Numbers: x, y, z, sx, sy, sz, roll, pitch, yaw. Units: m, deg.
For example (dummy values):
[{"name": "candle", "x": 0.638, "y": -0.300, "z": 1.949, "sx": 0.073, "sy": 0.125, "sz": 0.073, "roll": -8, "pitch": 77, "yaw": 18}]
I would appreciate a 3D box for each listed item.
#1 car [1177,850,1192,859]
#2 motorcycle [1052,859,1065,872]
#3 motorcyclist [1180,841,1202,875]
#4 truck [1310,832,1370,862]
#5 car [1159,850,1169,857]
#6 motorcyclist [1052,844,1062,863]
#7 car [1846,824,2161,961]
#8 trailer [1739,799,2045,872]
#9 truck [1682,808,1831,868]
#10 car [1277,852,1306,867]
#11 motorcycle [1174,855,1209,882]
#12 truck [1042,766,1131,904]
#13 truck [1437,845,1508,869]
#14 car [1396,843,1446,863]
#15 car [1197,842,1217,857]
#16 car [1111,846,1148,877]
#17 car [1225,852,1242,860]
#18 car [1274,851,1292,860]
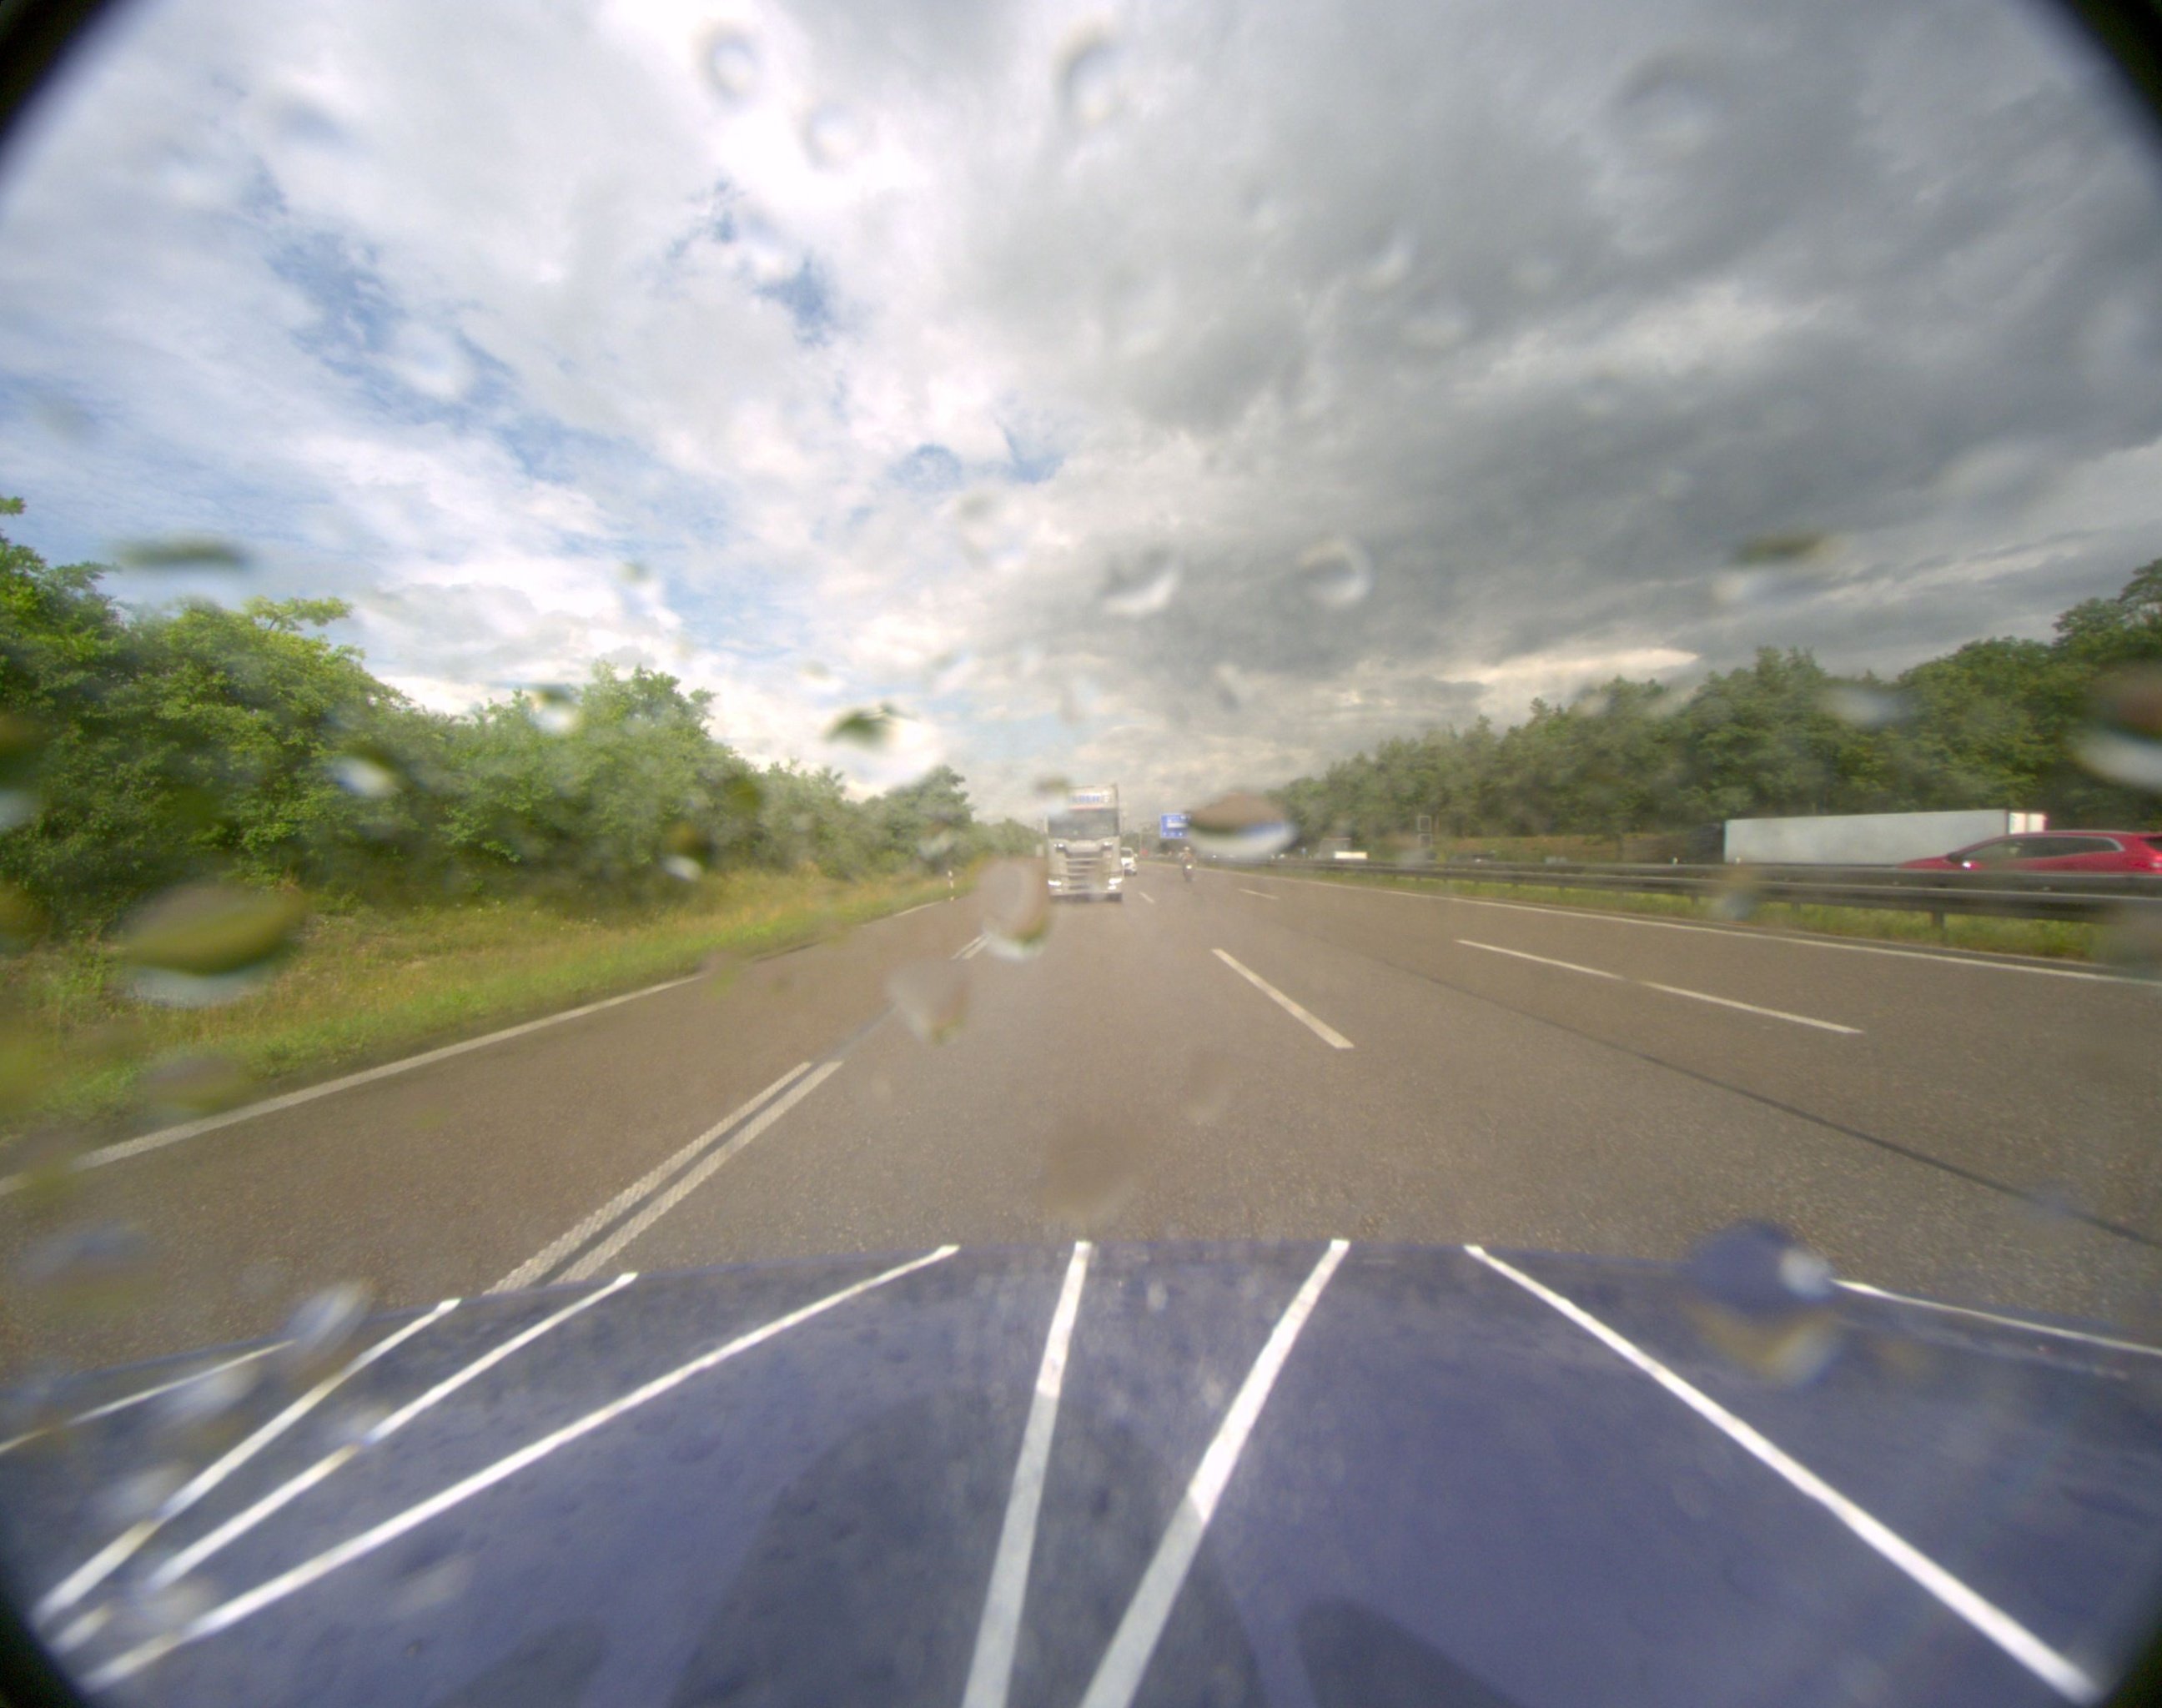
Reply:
[{"name": "car", "x": 18.635, "y": 0.089, "z": 136.710, "sx": 1.903, "sy": 1.384, "sz": 5.420, "roll": -2, "pitch": 1, "yaw": 1}, {"name": "motorcycle", "x": -2.159, "y": 1.064, "z": 73.030, "sx": 1.188, "sy": 1.142, "sz": 3.193, "roll": -2, "pitch": 1, "yaw": -2}, {"name": "motorcyclist", "x": 5.587, "y": 0.187, "z": 38.730, "sx": 0.883, "sy": 1.696, "sz": 1.000, "roll": -2, "pitch": 1, "yaw": -1}, {"name": "truck", "x": 17.712, "y": -0.496, "z": 52.221, "sx": 2.262, "sy": 1.884, "sz": 5.446, "roll": -2, "pitch": 1, "yaw": 1}, {"name": "car", "x": 19.091, "y": -0.139, "z": 175.184, "sx": 1.903, "sy": 1.384, "sz": 5.420, "roll": -2, "pitch": 1, "yaw": 1}, {"name": "motorcyclist", "x": -2.329, "y": -0.053, "z": 72.930, "sx": 0.883, "sy": 1.696, "sz": 1.000, "roll": -2, "pitch": 1, "yaw": -1}, {"name": "car", "x": 17.251, "y": 0.537, "z": 13.849, "sx": 1.835, "sy": 2.033, "sz": 4.779, "roll": -2, "pitch": 1, "yaw": 1}, {"name": "trailer", "x": 47.066, "y": -0.986, "z": 45.187, "sx": 3.215, "sy": 3.717, "sz": 12.555, "roll": -1, "pitch": 0, "yaw": -13}, {"name": "truck", "x": 45.568, "y": -1.017, "z": 51.597, "sx": 3.219, "sy": 3.683, "sz": 6.908, "roll": -3, "pitch": 1, "yaw": -13}, {"name": "car", "x": 22.208, "y": 0.587, "z": 80.165, "sx": 1.835, "sy": 1.384, "sz": 4.433, "roll": -2, "pitch": 1, "yaw": 1}, {"name": "motorcycle", "x": 5.605, "y": 0.710, "z": 38.849, "sx": 1.188, "sy": 1.219, "sz": 3.193, "roll": -2, "pitch": 1, "yaw": -2}, {"name": "truck", "x": 0.074, "y": -0.632, "z": 27.477, "sx": 2.650, "sy": 4.250, "sz": 6.882, "roll": -2, "pitch": 1, "yaw": -2}, {"name": "truck", "x": 21.830, "y": 0.126, "z": 42.547, "sx": 1.893, "sy": 1.187, "sz": 3.999, "roll": -2, "pitch": 1, "yaw": 1}, {"name": "car", "x": 25.734, "y": -0.109, "z": 57.711, "sx": 1.835, "sy": 1.384, "sz": 4.433, "roll": -2, "pitch": 1, "yaw": 1}, {"name": "car", "x": 26.499, "y": -0.940, "z": 160.057, "sx": 2.951, "sy": 3.092, "sz": 7.343, "roll": -2, "pitch": 1, "yaw": 1}, {"name": "car", "x": 3.464, "y": 0.470, "z": 55.134, "sx": 2.350, "sy": 2.033, "sz": 5.142, "roll": -2, "pitch": 1, "yaw": 1}, {"name": "car", "x": 26.343, "y": 0.334, "z": 131.219, "sx": 1.978, "sy": 1.384, "sz": 5.158, "roll": -2, "pitch": 1, "yaw": 1}, {"name": "car", "x": 26.020, "y": 0.247, "z": 98.036, "sx": 1.449, "sy": 1.051, "sz": 3.114, "roll": -2, "pitch": 1, "yaw": 1}]
